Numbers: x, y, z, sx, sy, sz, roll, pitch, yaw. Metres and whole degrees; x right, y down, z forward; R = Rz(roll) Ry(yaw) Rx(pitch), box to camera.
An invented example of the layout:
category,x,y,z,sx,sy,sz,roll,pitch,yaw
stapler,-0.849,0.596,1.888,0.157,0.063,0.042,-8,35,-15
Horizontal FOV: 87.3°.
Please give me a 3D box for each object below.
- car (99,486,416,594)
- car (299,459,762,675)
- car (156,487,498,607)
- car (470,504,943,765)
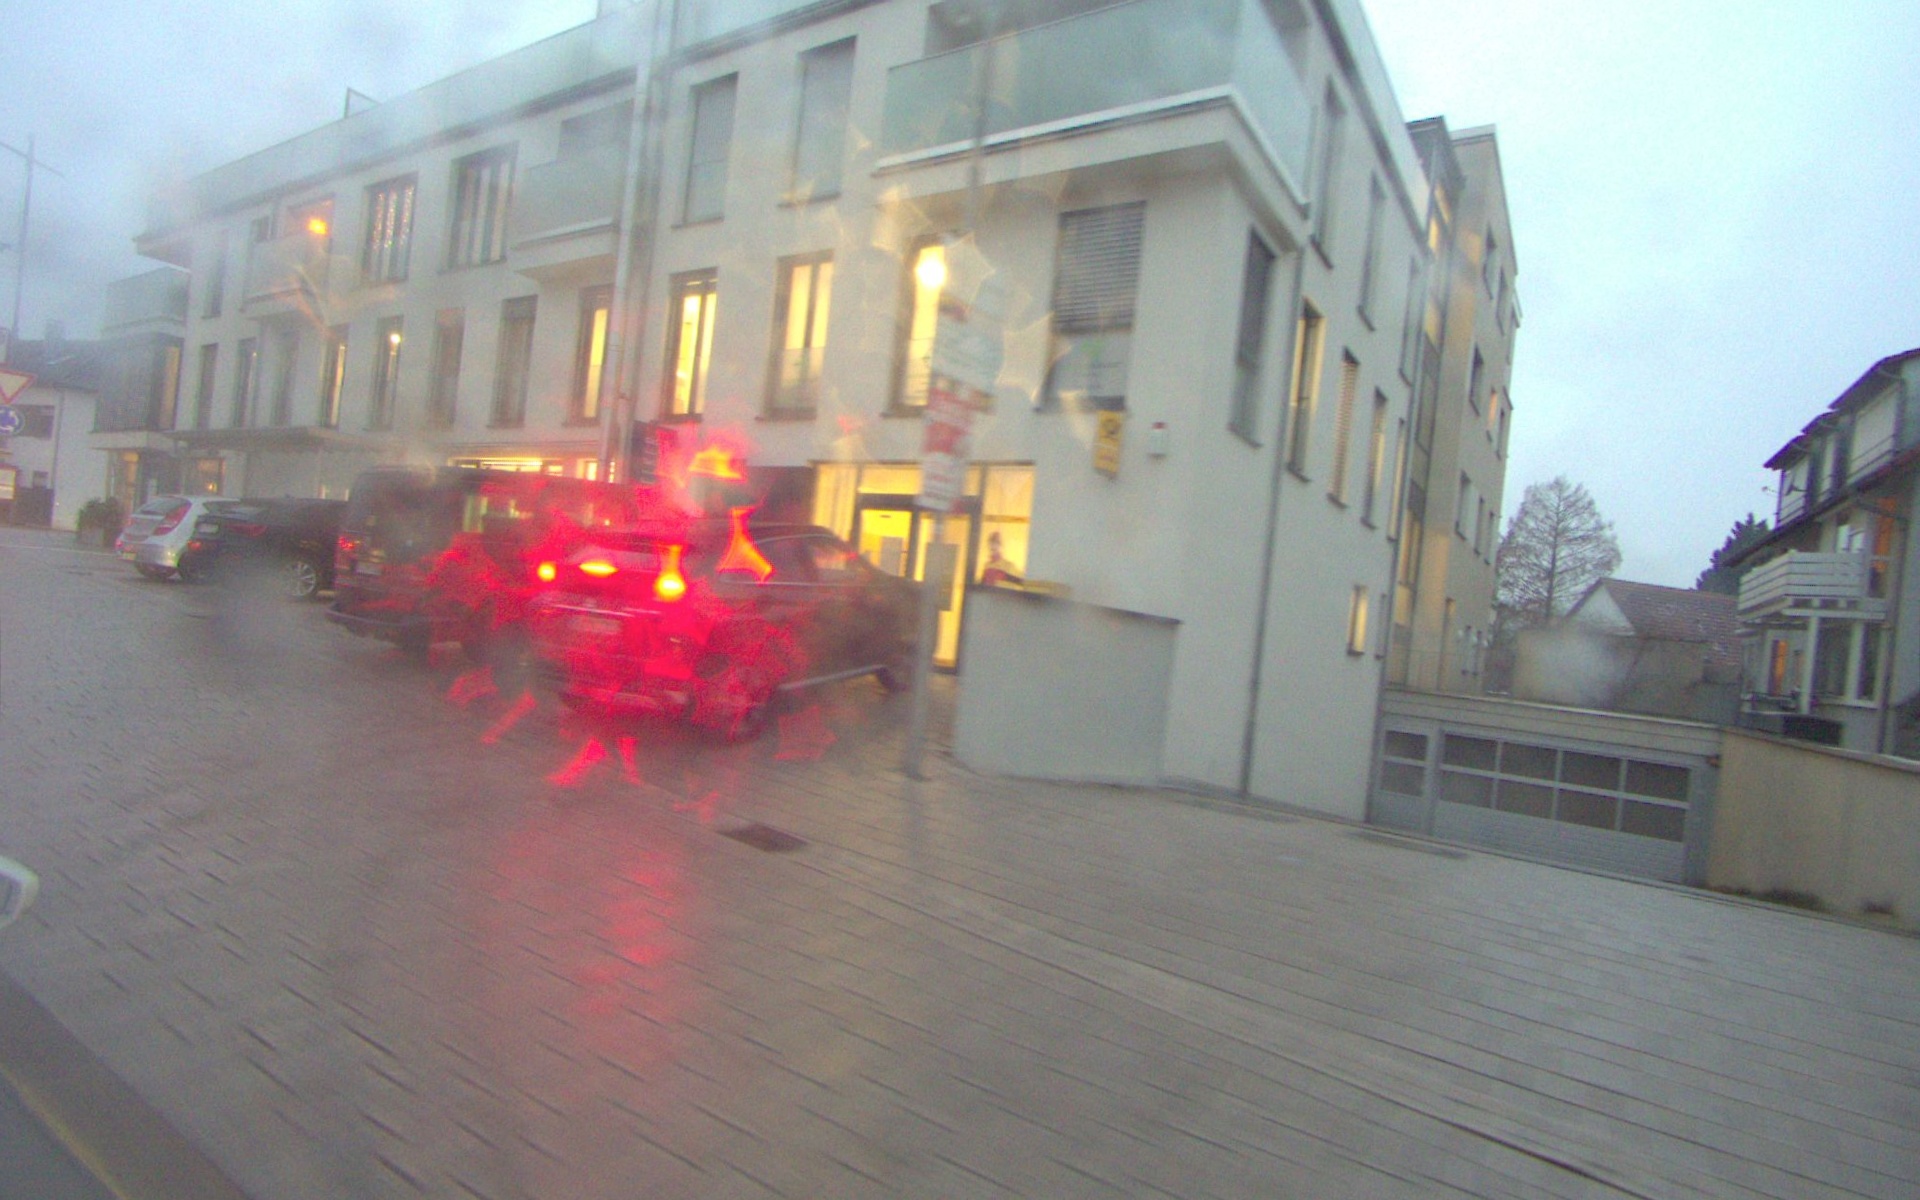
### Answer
category,x,y,z,sx,sy,sz,roll,pitch,yaw
car,-12.222,-0.987,17.813,1.762,1.479,4.208,6,2,29
car,-4.621,-0.399,11.525,1.918,1.948,4.557,6,4,33
car,-9.791,-0.759,15.936,1.762,1.479,4.208,6,2,29
car,-1.962,0.105,9.052,1.772,1.664,4.174,7,6,27
